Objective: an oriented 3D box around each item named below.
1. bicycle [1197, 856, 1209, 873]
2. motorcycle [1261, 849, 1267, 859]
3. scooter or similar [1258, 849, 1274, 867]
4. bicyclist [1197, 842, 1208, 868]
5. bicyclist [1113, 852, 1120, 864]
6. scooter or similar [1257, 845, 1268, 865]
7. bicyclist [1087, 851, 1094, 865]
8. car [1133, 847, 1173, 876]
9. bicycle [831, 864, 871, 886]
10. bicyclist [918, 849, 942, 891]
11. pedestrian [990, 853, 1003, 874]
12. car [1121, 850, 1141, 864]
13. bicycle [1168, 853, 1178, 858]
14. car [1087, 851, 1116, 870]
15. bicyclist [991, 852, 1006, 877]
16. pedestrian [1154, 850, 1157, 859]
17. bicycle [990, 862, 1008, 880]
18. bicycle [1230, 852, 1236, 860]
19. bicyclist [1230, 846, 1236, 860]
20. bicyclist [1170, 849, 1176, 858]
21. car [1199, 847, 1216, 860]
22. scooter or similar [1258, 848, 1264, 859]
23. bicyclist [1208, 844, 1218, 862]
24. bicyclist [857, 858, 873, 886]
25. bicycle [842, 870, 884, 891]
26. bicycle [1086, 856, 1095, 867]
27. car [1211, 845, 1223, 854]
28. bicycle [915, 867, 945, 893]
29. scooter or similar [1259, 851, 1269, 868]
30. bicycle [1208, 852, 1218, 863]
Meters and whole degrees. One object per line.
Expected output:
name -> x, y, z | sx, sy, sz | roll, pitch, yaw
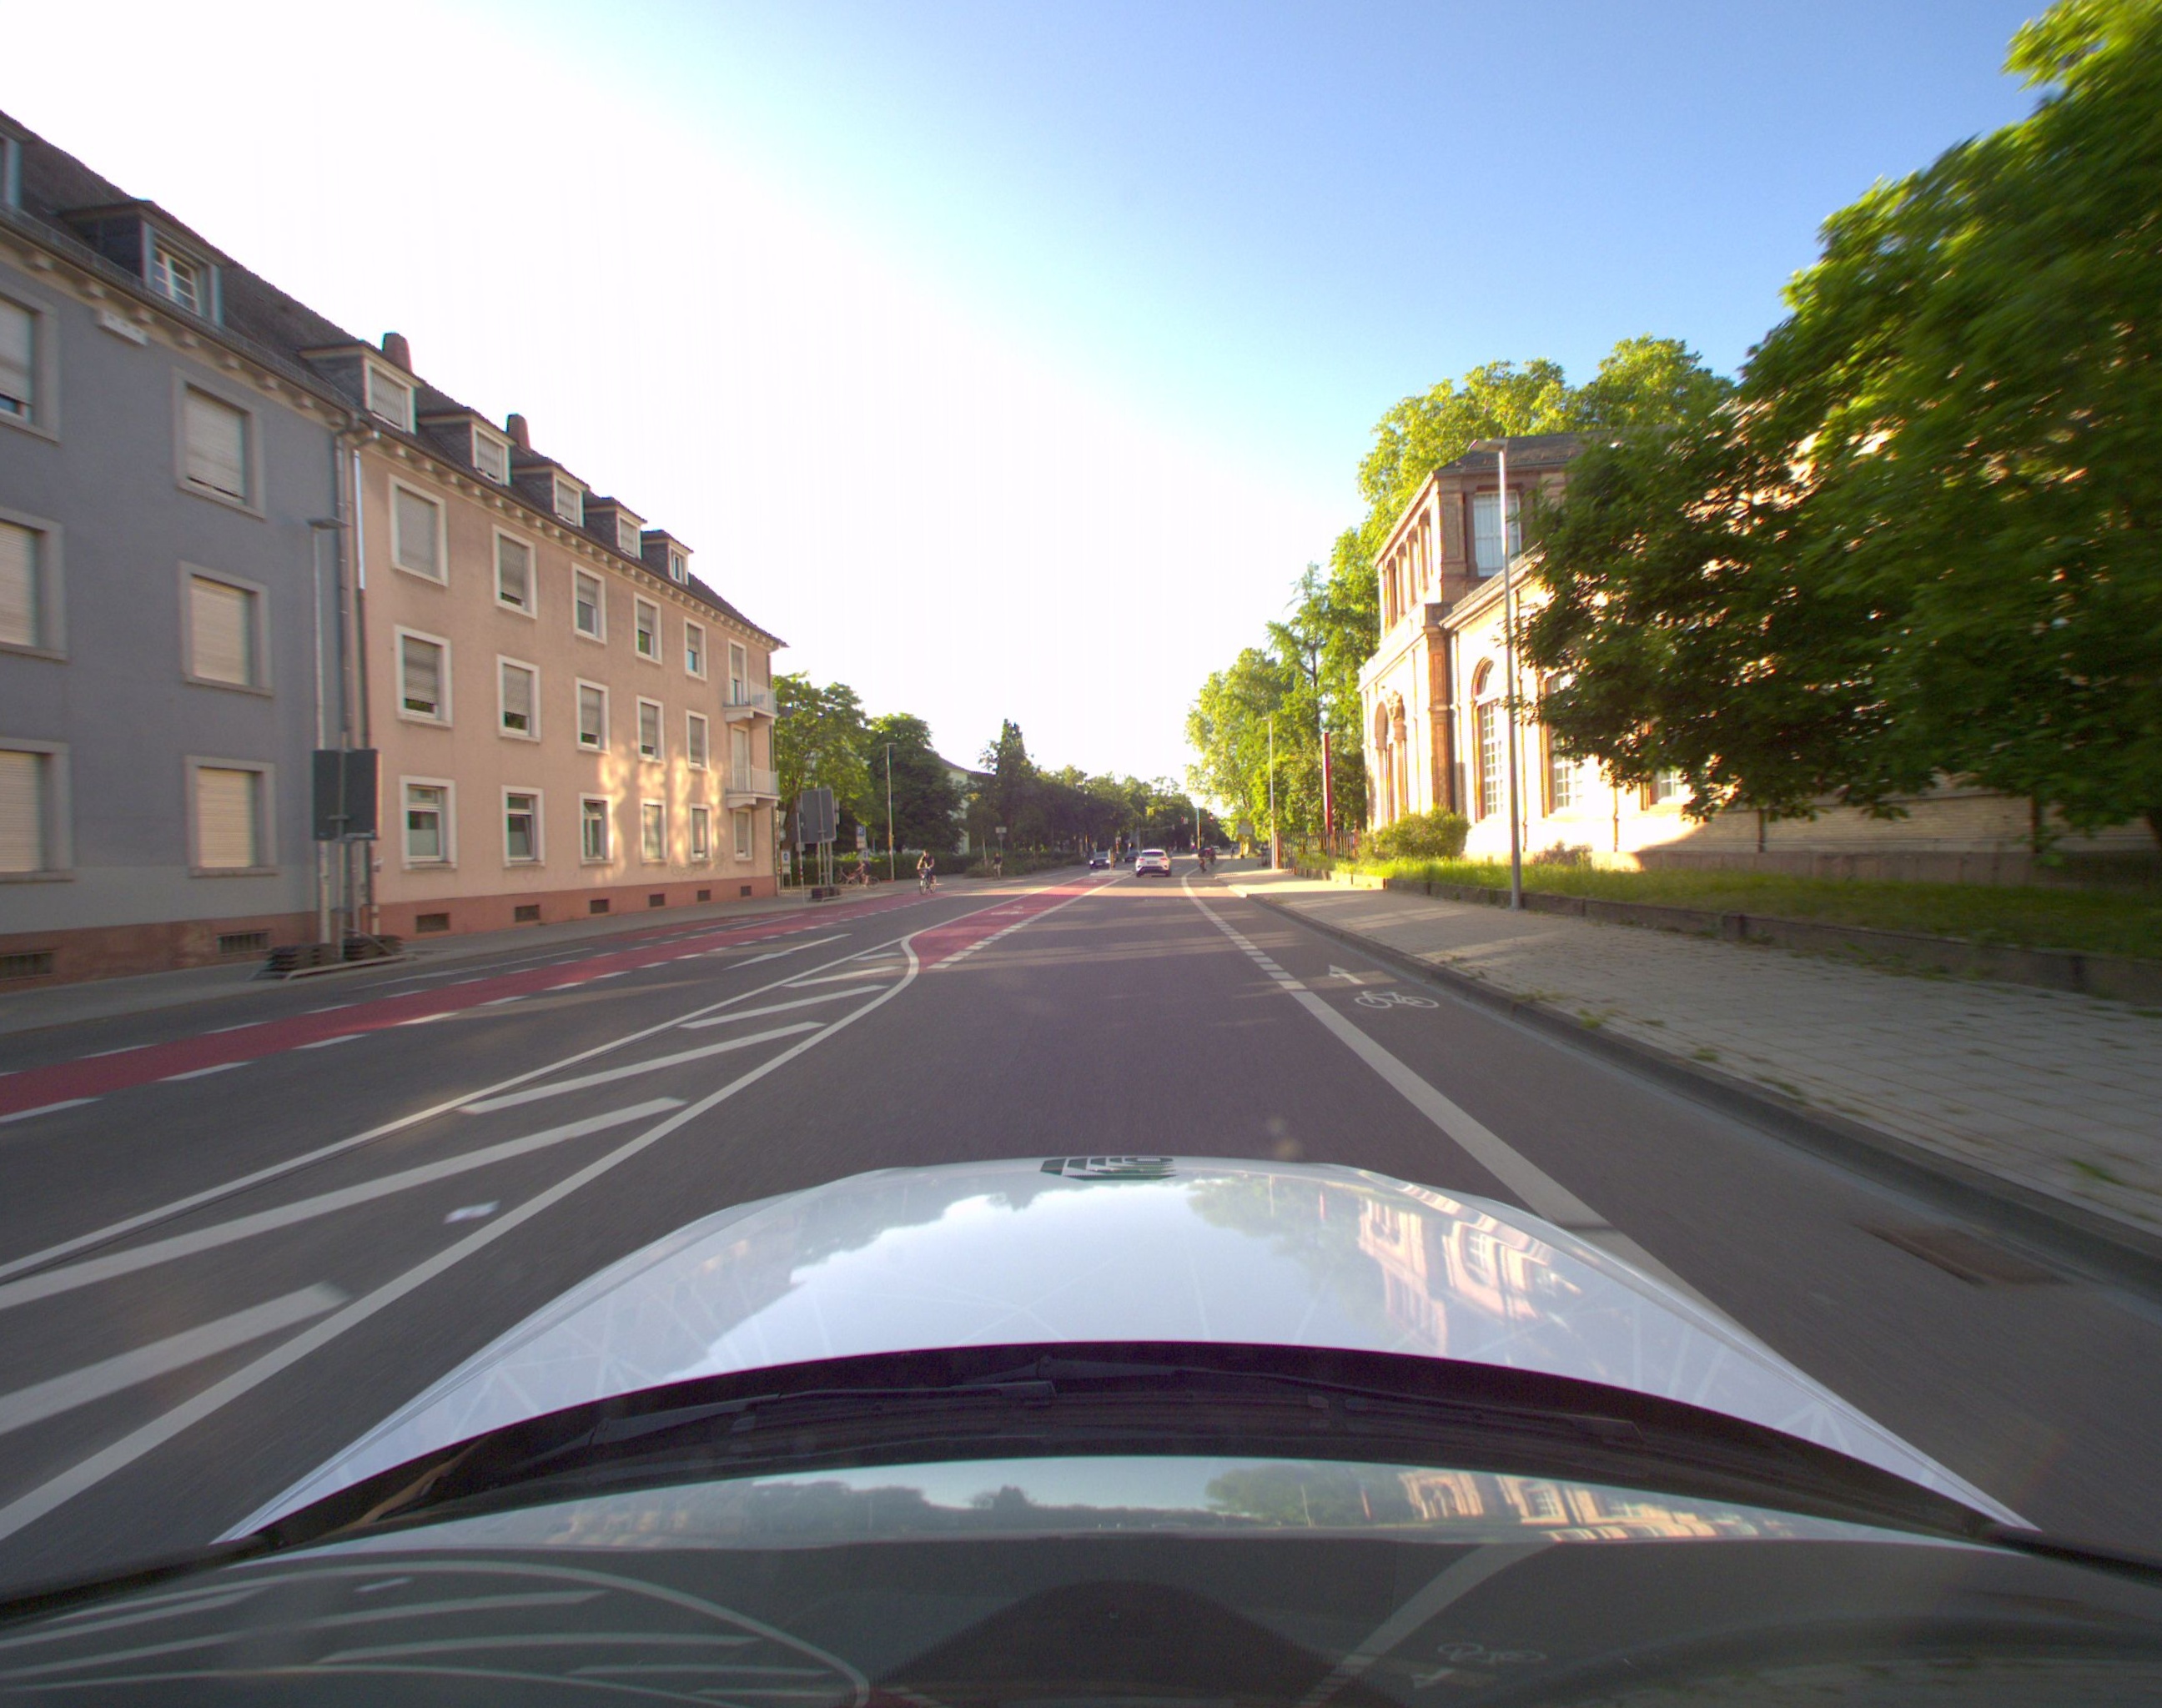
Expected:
bicycle -> 7.573, 0.622, 50.586 | 0.639, 1.024, 2.219 | -1, 0, 10
motorcycle -> 22.822, 0.005, 101.519 | 0.657, 1.167, 2.335 | -5, -1, 12
scooter or similar -> 12.796, 0.274, 56.415 | 0.547, 1.243, 1.554 | -3, 0, -6
bicyclist -> 7.556, 0.067, 50.591 | 0.632, 1.614, 1.287 | -1, 0, 10
bicyclist -> 4.465, 0.516, 102.009 | 0.642, 1.418, 0.973 | -5, 0, 9
scooter or similar -> 11.902, 0.074, 53.495 | 0.296, 1.240, 1.159 | -3, 0, -5
bicyclist -> 1.064, 0.399, 91.718 | 0.625, 1.522, 0.726 | -5, 0, 9
car -> 4.048, 0.397, 45.275 | 1.982, 1.453, 4.009 | -3, 0, 8
bicycle -> -13.987, 1.253, 49.501 | 2.305, 1.230, 0.562 | -2, 0, 10
bicyclist -> -6.342, 0.662, 34.249 | 0.632, 1.710, 0.740 | -5, 0, 6
pedestrian -> -7.673, 0.814, 73.901 | 0.850, 1.851, 1.004 | -3, 0, 10
car -> 5.918, 0.339, 96.176 | 1.746, 1.459, 4.014 | -2, 0, 12
bicycle -> 16.468, 0.273, 145.907 | 1.751, 0.990, 0.515 | -2, 0, 18
car -> 1.839, 0.532, 70.183 | 1.800, 1.419, 4.567 | -2, 0, 10
bicyclist -> -5.082, 0.638, 50.084 | 0.653, 1.485, 0.666 | -5, 0, 5
pedestrian -> 16.744, 0.087, 182.996 | 0.646, 1.888, 0.665 | -3, 0, 14
bicycle -> -5.043, 1.026, 50.082 | 0.648, 0.995, 2.113 | -4, 0, 6
bicycle -> 20.499, 0.225, 109.717 | 0.748, 1.026, 1.875 | -1, -1, 11
bicyclist -> 20.512, -0.128, 109.711 | 0.745, 1.750, 0.846 | -1, 0, 11
bicyclist -> 16.421, -0.086, 145.918 | 0.914, 1.509, 0.509 | -2, 0, 18
car -> 16.895, -0.080, 108.613 | 1.916, 1.533, 4.013 | -3, 0, 11
scooter or similar -> 23.935, -0.073, 108.229 | 0.562, 1.382, 1.862 | -3, 0, 10
bicyclist -> 11.751, -0.090, 72.530 | 0.742, 1.537, 0.972 | -1, 0, 11
bicyclist -> -11.775, 0.995, 44.435 | 0.662, 1.485, 0.739 | -4, 0, -4
bicycle -> -11.879, 1.421, 44.424 | 2.099, 0.995, 0.738 | -3, 1, -5
bicycle -> 1.095, 0.826, 91.656 | 0.593, 1.120, 2.032 | -5, -1, 9
car -> 23.430, -0.755, 140.524 | 1.725, 1.546, 4.015 | -2, 0, 13
bicycle -> -6.335, 1.083, 34.290 | 0.643, 0.995, 2.113 | -4, 0, 6
scooter or similar -> 12.269, 0.346, 54.567 | 0.478, 1.122, 1.339 | -3, 0, 7
bicycle -> 11.751, 0.322, 72.482 | 0.748, 1.026, 1.875 | -1, -1, 11
